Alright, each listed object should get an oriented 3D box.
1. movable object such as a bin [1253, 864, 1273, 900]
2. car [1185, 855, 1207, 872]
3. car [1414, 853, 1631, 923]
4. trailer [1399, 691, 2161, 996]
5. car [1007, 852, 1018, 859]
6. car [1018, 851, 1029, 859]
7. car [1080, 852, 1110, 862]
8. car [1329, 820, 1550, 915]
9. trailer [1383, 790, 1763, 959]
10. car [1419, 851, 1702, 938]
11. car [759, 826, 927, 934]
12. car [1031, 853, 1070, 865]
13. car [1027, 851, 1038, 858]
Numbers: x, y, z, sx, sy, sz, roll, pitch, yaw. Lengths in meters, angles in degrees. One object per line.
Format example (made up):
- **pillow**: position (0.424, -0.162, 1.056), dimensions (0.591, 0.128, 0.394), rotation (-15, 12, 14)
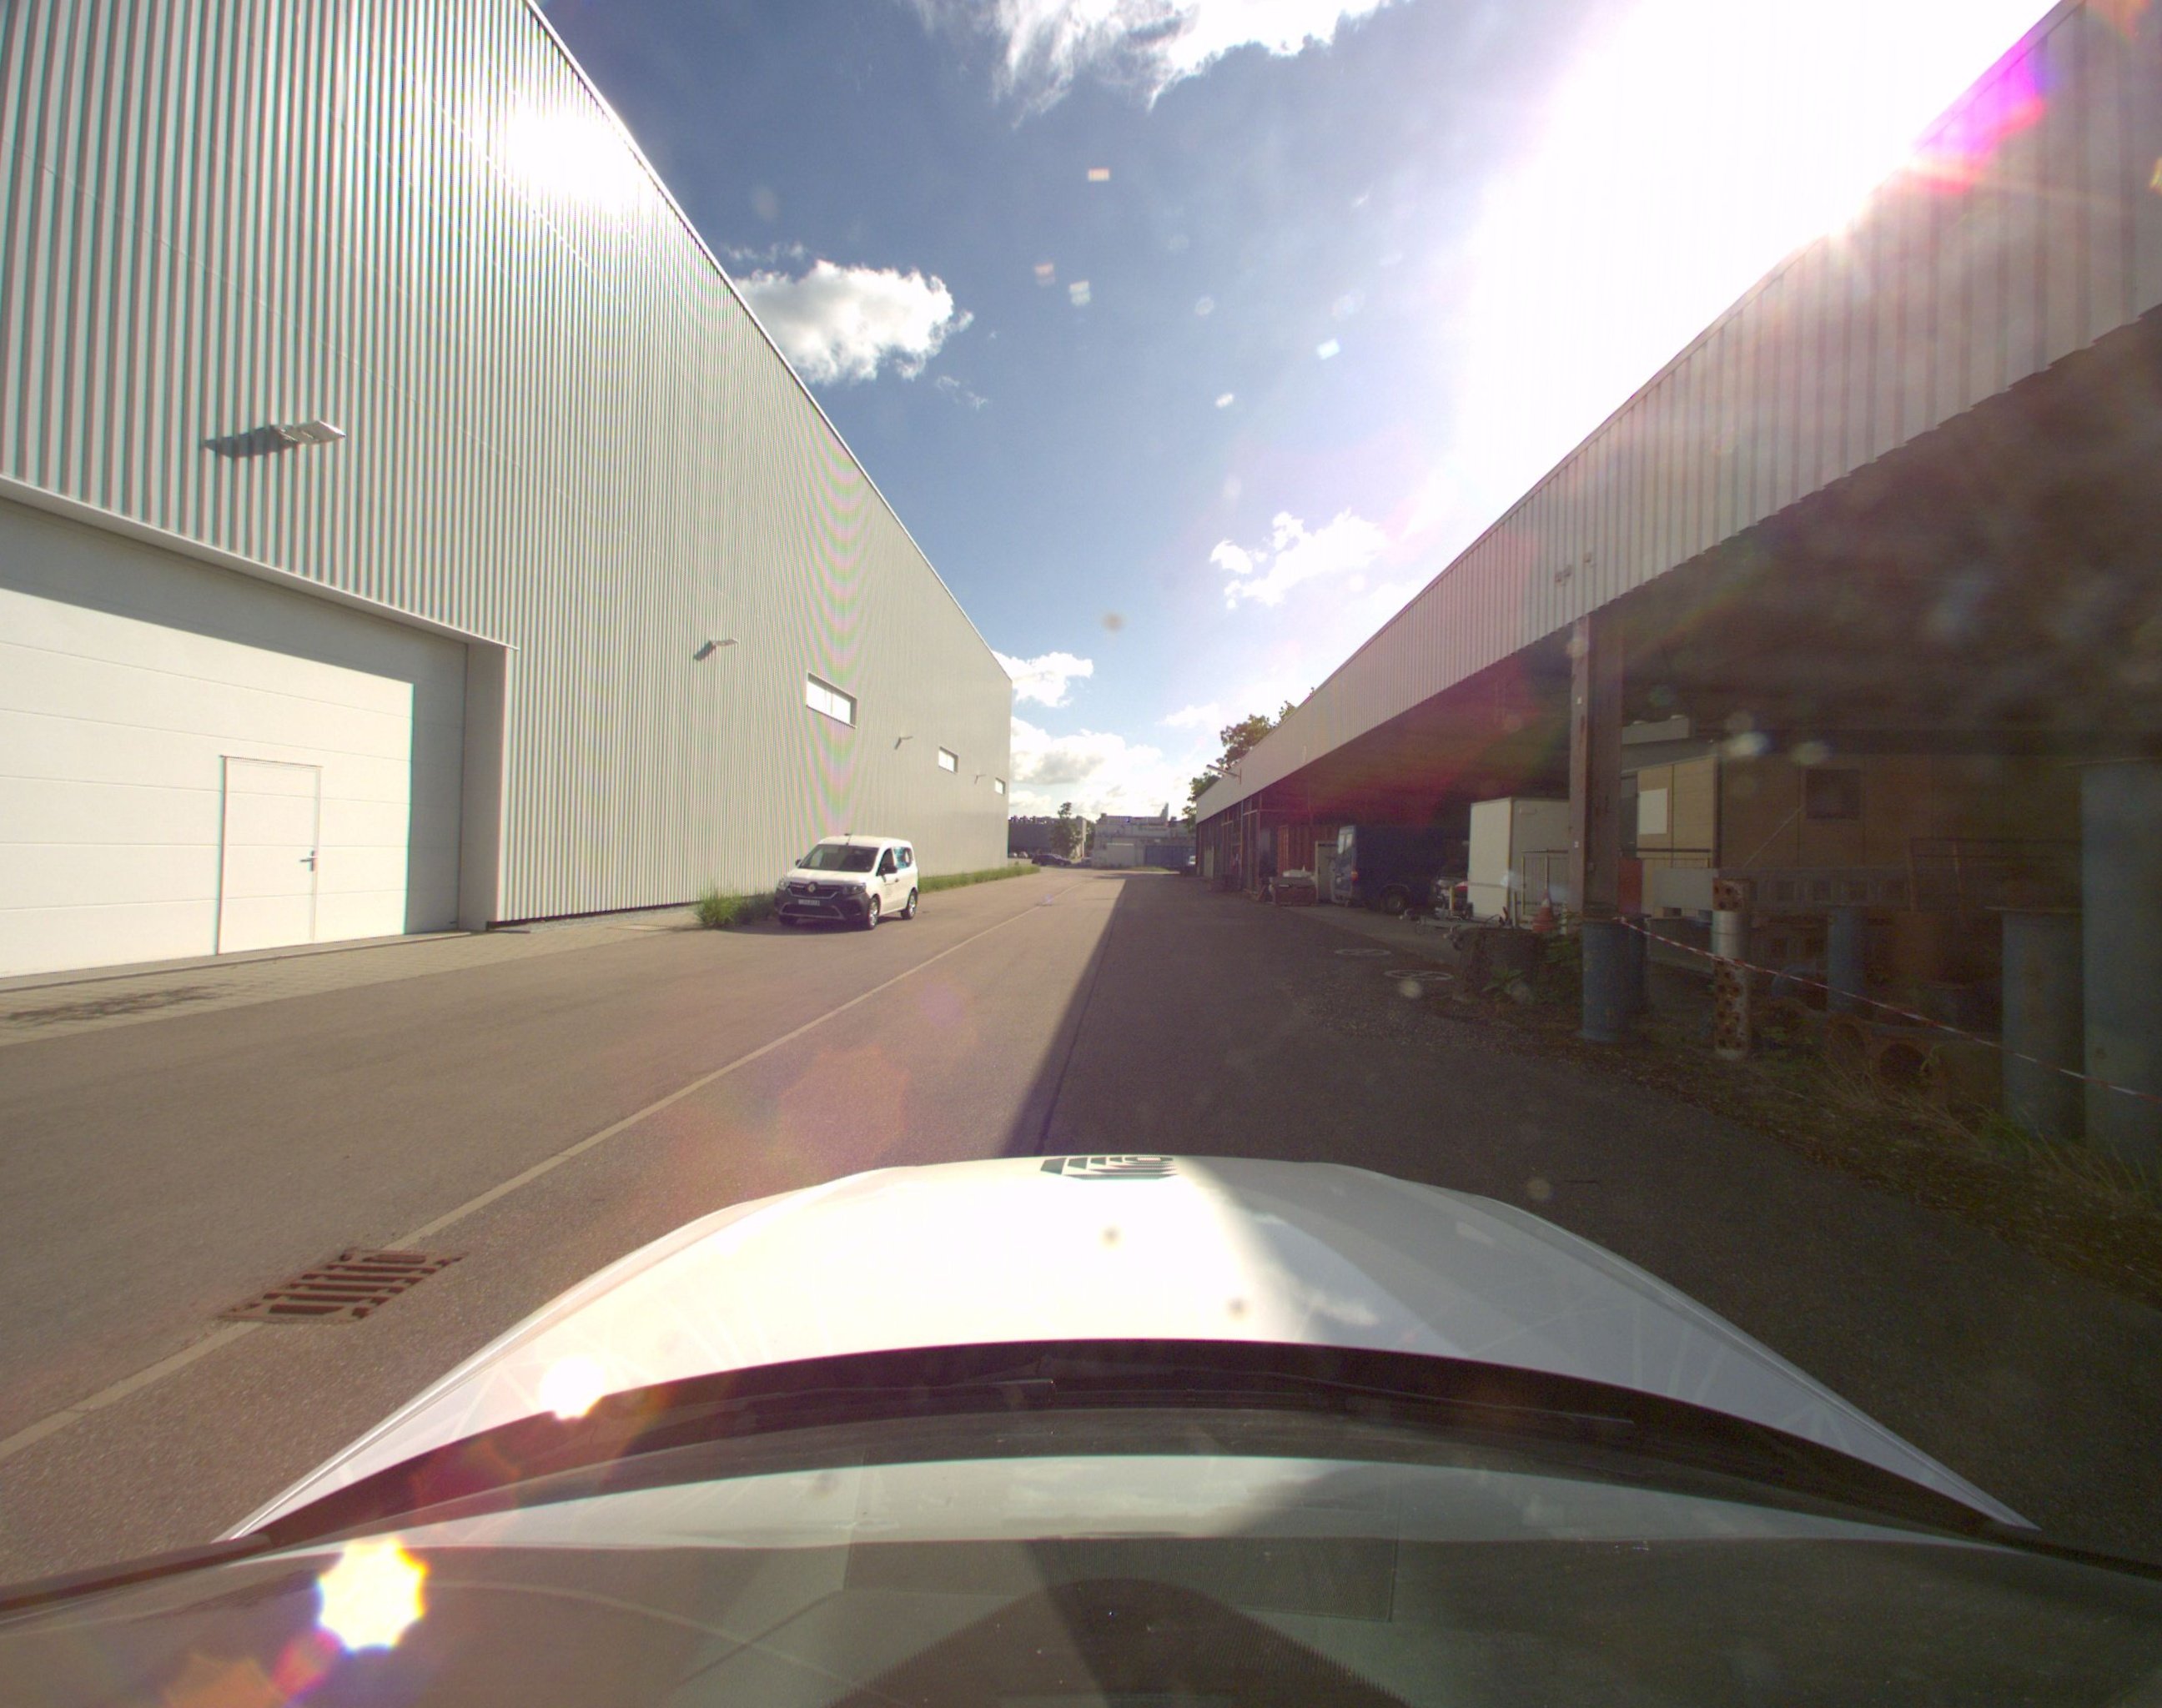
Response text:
- **movable object such as a bin**: position (6.088, 0.910, 27.279), dimensions (0.578, 1.164, 1.241), rotation (0, 0, 8)
- **car**: position (12.072, 0.943, 85.615), dimensions (1.985, 1.585, 4.176), rotation (1, 1, 3)
- **car**: position (9.882, 0.736, 18.427), dimensions (3.975, 1.472, 1.787), rotation (0, 0, -1)
- **trailer**: position (9.506, -0.123, 10.117), dimensions (9.995, 3.216, 2.856), rotation (0, 0, 3)
- **car**: position (-16.570, 0.310, 196.847), dimensions (1.985, 1.736, 4.003), rotation (-1, -1, 3)
- **car**: position (-13.976, 0.258, 197.061), dimensions (2.184, 1.736, 4.003), rotation (-1, -1, 3)
- **car**: position (2.255, 0.452, 126.556), dimensions (4.505, 1.508, 1.911), rotation (1, 0, 4)
- **car**: position (9.276, 0.328, 21.430), dimensions (4.957, 2.325, 2.002), rotation (1, 0, 3)
- **trailer**: position (7.426, 0.270, 12.769), dimensions (4.785, 2.391, 1.831), rotation (0, 0, 8)
- **car**: position (8.871, 0.718, 15.342), dimensions (4.313, 1.496, 1.777), rotation (0, 0, 1)
- **car**: position (-4.724, 0.472, 16.891), dimensions (1.882, 1.845, 4.362), rotation (3, 0, 3)
- **car**: position (-3.658, 0.593, 99.195), dimensions (4.504, 1.508, 1.911), rotation (0, 0, 5)
- **car**: position (-11.543, 0.191, 195.224), dimensions (2.184, 1.736, 4.003), rotation (-1, -1, 3)
